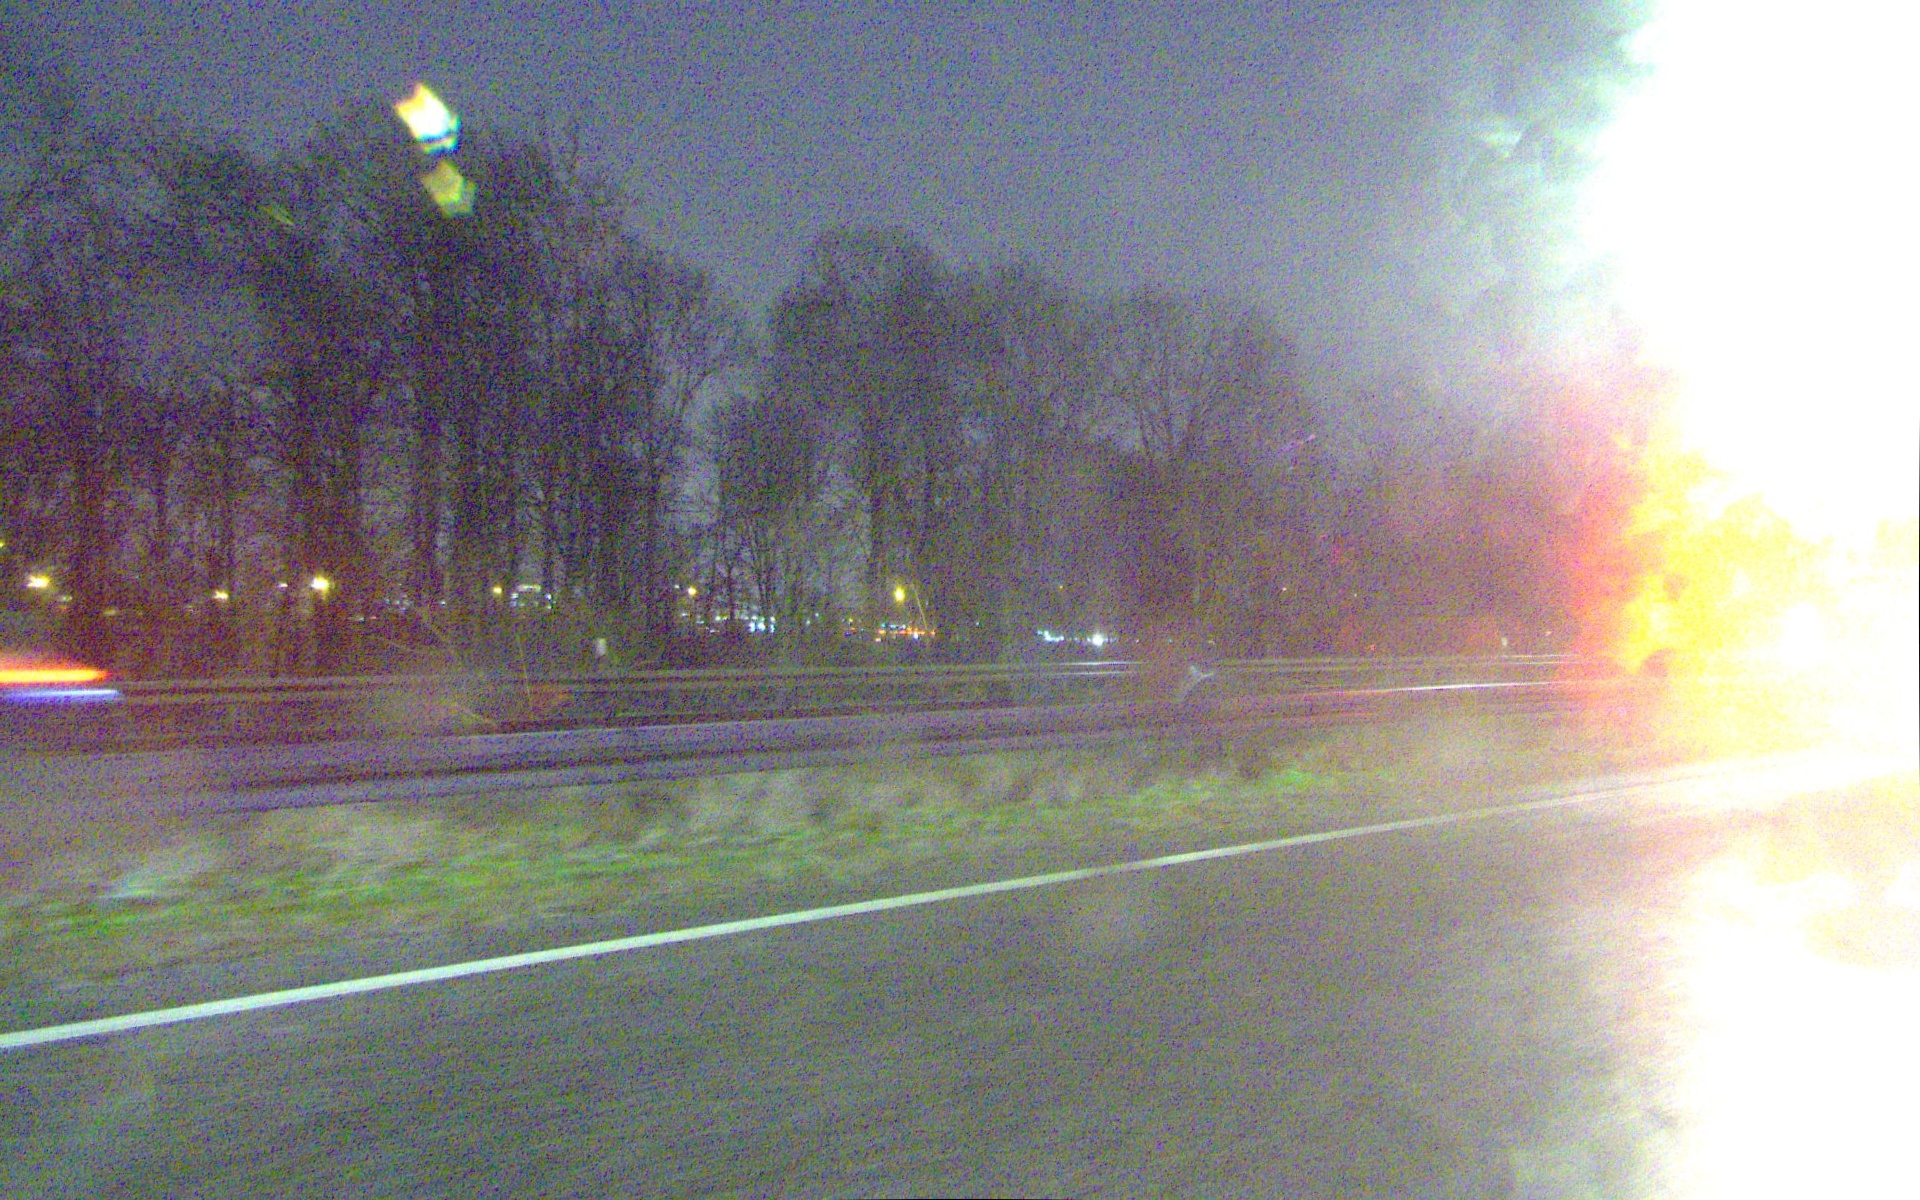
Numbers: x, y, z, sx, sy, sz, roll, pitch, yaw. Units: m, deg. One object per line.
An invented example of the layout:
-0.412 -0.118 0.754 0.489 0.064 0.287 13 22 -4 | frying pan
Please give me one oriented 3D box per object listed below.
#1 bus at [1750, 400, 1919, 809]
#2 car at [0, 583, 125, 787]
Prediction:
11.459 0.103 9.868 9.096 3.165 2.729 1 1 -31 | bus
-10.661 0.716 9.302 4.151 1.833 1.984 3 0 -30 | car
